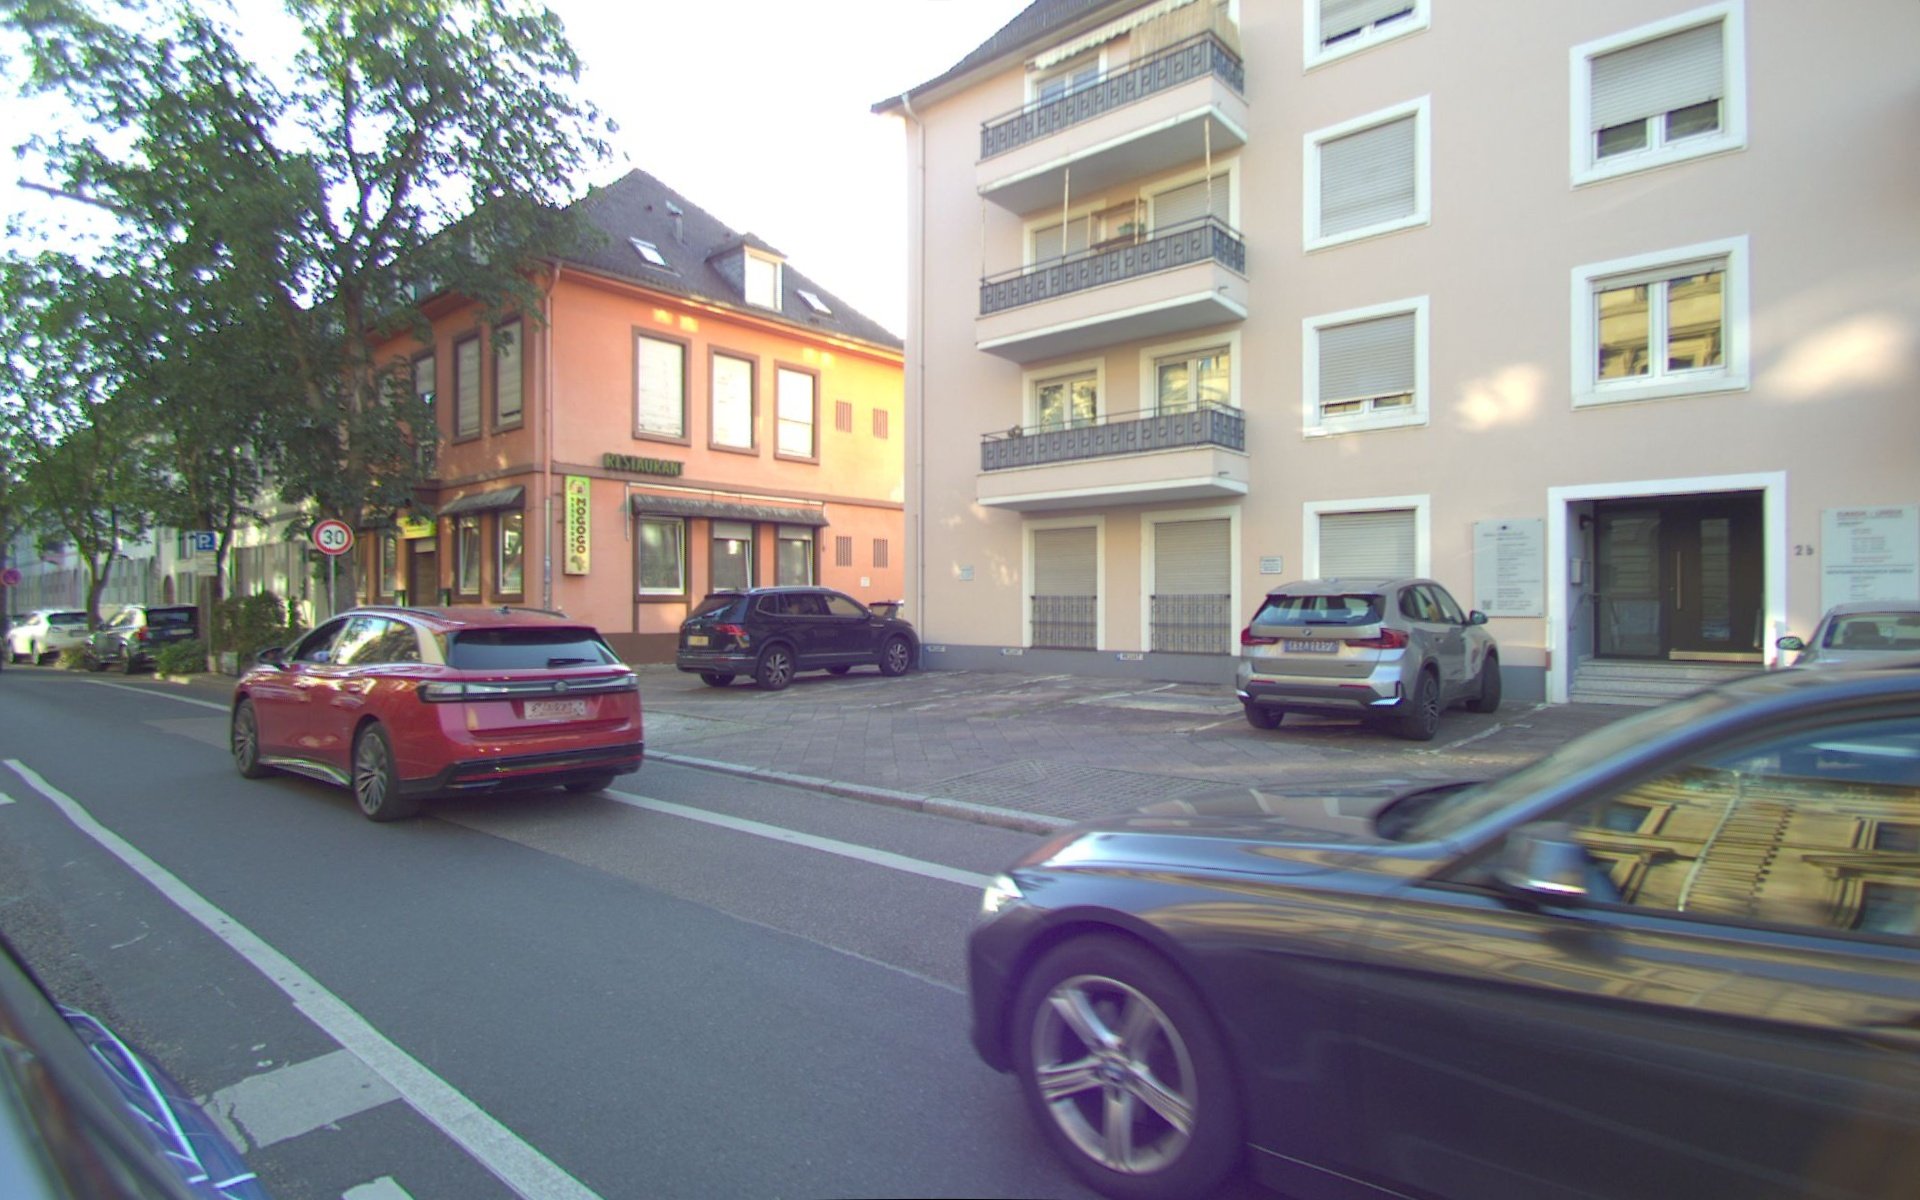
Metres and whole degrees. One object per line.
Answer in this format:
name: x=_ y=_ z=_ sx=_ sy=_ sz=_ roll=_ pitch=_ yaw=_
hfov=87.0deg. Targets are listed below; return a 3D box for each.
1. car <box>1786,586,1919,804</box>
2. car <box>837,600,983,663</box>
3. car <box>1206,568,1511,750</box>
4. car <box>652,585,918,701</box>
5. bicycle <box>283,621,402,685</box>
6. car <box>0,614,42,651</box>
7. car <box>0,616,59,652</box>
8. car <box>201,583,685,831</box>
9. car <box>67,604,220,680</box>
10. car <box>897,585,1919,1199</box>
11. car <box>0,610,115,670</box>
car: x=7.925 y=0.616 z=8.314 sx=1.734 sy=1.391 sz=4.224 roll=-1 pitch=1 yaw=39
car: x=-1.270 y=0.793 z=27.008 sx=1.884 sy=1.567 sz=3.762 roll=-1 pitch=-1 yaw=39
car: x=4.644 y=0.493 z=11.383 sx=1.914 sy=1.617 sz=4.374 roll=-1 pitch=1 yaw=39
car: x=-2.887 y=0.639 z=17.545 sx=1.862 sy=1.678 sz=4.374 roll=-1 pitch=1 yaw=39
bicycle: x=-11.712 y=0.981 z=19.238 sx=0.609 sy=1.112 sz=1.850 roll=-1 pitch=0 yaw=34
car: x=-45.066 y=1.488 z=46.404 sx=1.798 sy=1.702 sz=4.178 roll=-1 pitch=-1 yaw=38
car: x=-42.803 y=1.518 z=44.844 sx=1.801 sy=1.557 sz=4.172 roll=-1 pitch=-1 yaw=43
car: x=-4.579 y=0.740 z=8.603 sx=4.841 sy=1.557 sz=1.813 roll=-1 pitch=-2 yaw=38
car: x=-22.066 y=1.076 z=27.290 sx=5.037 sy=1.772 sz=1.813 roll=-1 pitch=3 yaw=35
car: x=2.056 y=0.729 z=2.190 sx=4.421 sy=1.470 sz=1.763 roll=0 pitch=-1 yaw=41
car: x=-28.921 y=1.218 z=32.257 sx=4.645 sy=1.680 sz=1.813 roll=-1 pitch=3 yaw=35
